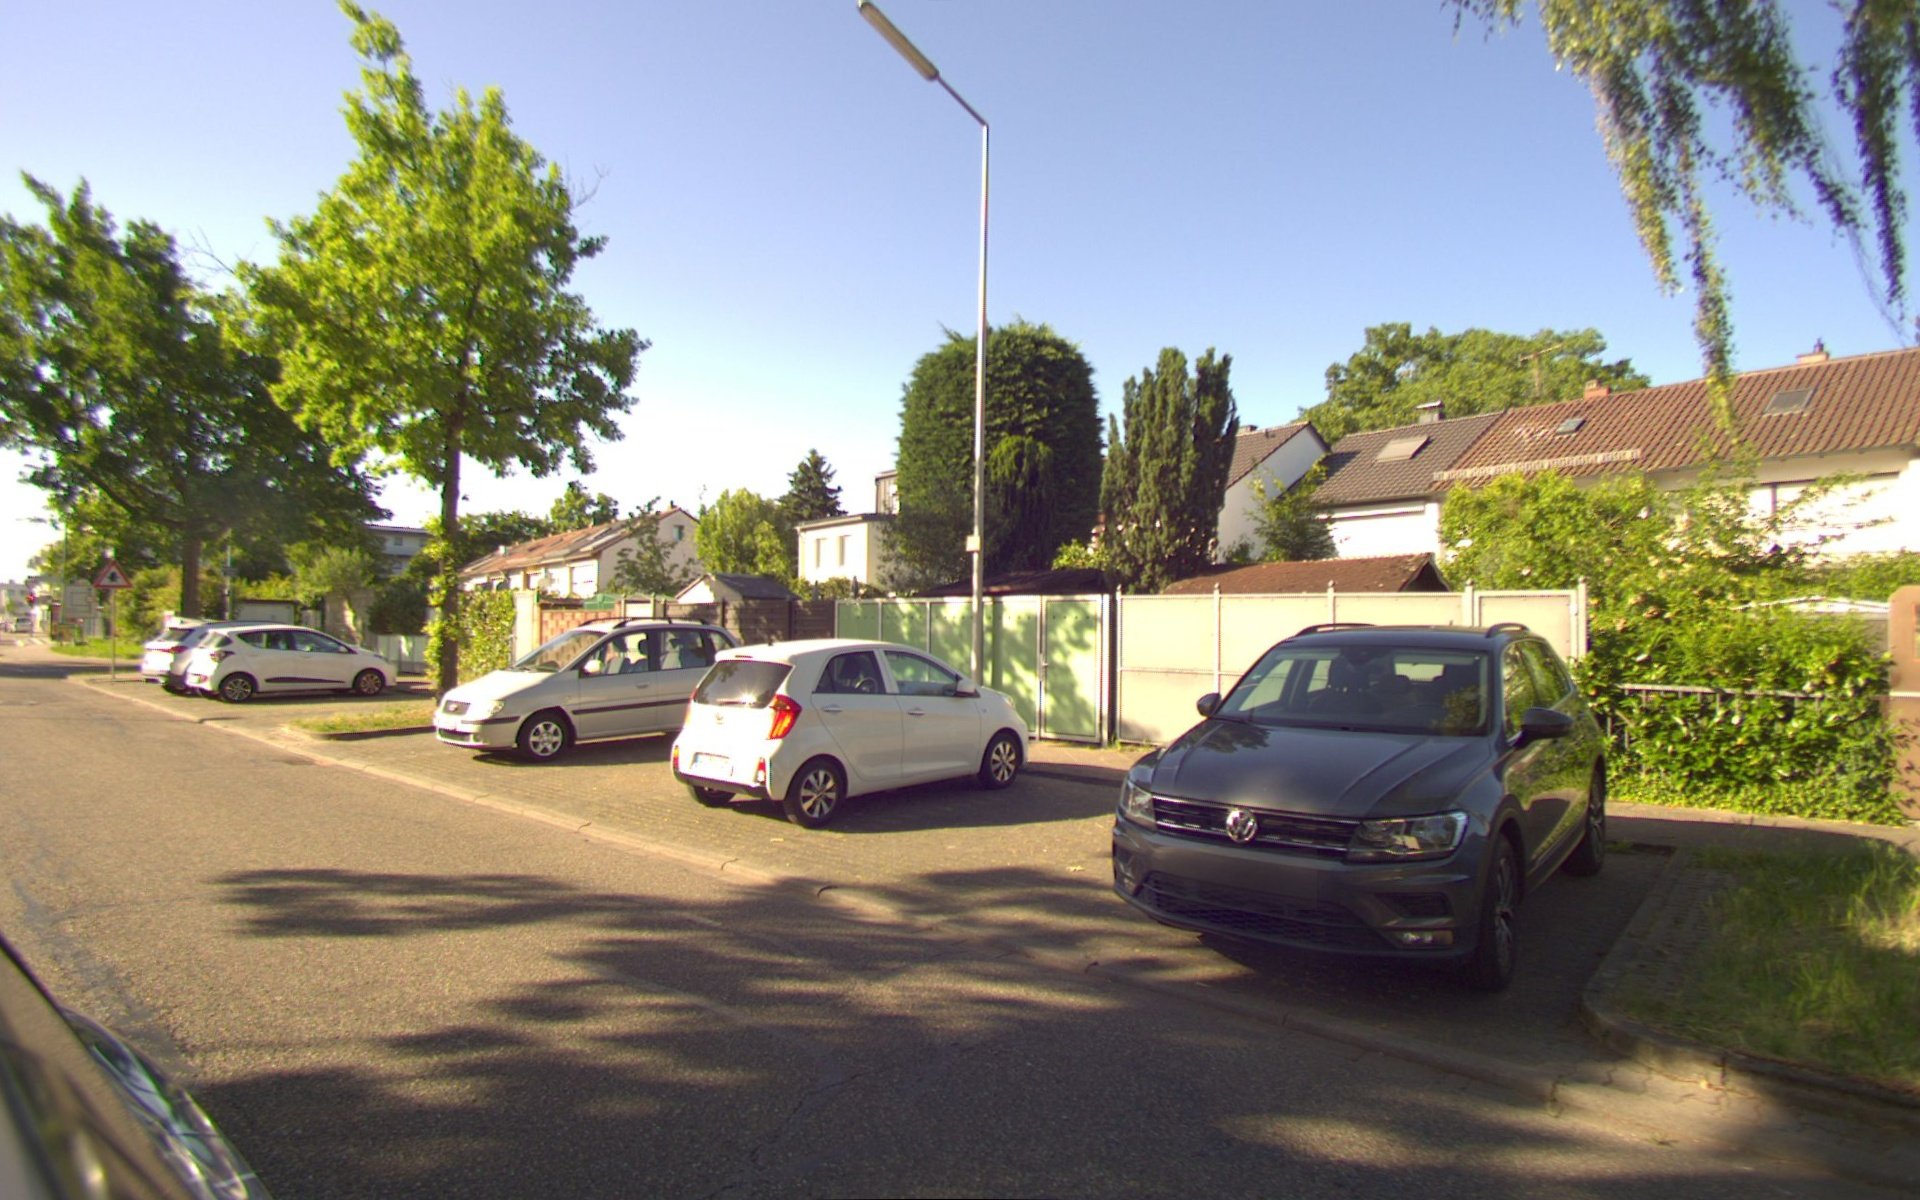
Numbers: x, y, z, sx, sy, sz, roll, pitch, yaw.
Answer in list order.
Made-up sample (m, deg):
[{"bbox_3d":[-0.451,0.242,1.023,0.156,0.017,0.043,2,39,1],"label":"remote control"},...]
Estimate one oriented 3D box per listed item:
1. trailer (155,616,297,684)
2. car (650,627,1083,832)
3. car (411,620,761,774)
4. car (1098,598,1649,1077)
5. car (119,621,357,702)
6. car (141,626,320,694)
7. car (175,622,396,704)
[{"bbox_3d":[-19.290,1.289,26.653,1.297,1.660,2.733,1,-1,36],"label":"trailer"},{"bbox_3d":[-0.700,1.050,9.670,1.795,1.526,3.959,-1,-3,42],"label":"car"},{"bbox_3d":[-4.671,1.098,13.033,1.706,1.626,3.897,-2,-1,42],"label":"car"},{"bbox_3d":[2.668,0.902,5.864,1.759,1.737,4.167,-1,-2,40],"label":"car"},{"bbox_3d":[-15.979,1.277,22.573,1.917,1.586,3.920,0,-1,34],"label":"car"},{"bbox_3d":[-17.671,1.398,24.604,1.615,1.489,3.259,0,-1,42],"label":"car"},{"bbox_3d":[-13.947,1.242,21.050,1.706,1.507,3.479,0,-1,39],"label":"car"}]
